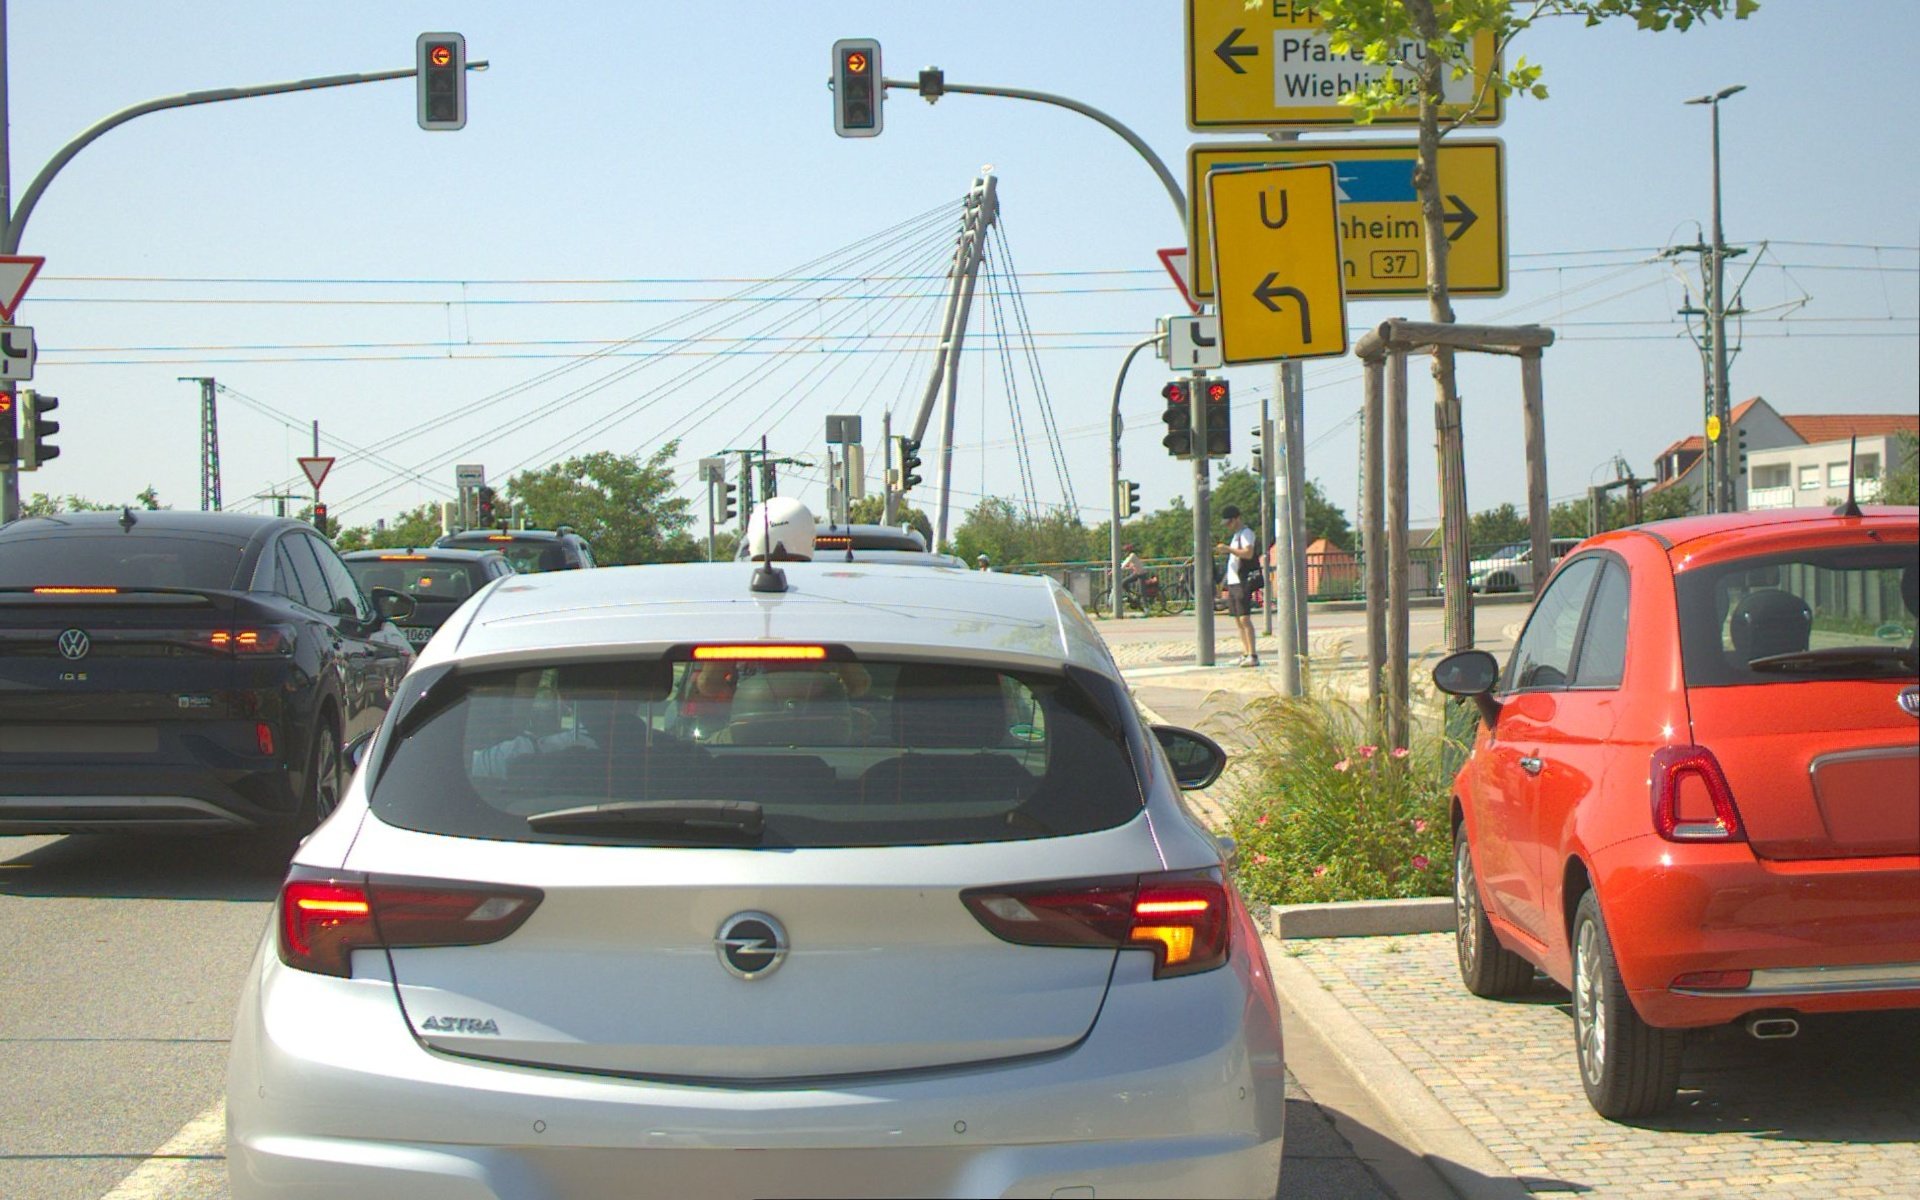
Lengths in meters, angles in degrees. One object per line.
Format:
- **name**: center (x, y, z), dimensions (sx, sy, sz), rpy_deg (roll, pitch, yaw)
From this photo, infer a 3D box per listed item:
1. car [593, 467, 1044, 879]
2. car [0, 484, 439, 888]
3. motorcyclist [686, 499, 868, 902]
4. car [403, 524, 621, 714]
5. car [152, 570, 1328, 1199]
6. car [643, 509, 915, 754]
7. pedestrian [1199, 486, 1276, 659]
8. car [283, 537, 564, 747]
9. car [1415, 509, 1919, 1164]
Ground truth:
- **car**: center (-0.658, 0.268, 17.568), dimensions (1.993, 1.814, 4.402), rpy_deg (1, 2, -1)
- **car**: center (-3.675, 0.324, 16.217), dimensions (1.801, 1.636, 4.366), rpy_deg (1, 1, -1)
- **motorcyclist**: center (-0.642, 0.343, 12.229), dimensions (0.581, 1.384, 0.707), rpy_deg (1, 0, 1)
- **car**: center (-4.025, 0.143, 31.338), dimensions (1.649, 1.610, 3.821), rpy_deg (1, 1, -3)
- **car**: center (-0.433, 0.689, 7.141), dimensions (1.742, 1.473, 4.001), rpy_deg (1, 1, -3)
- **car**: center (-1.207, 0.153, 24.391), dimensions (1.724, 1.558, 4.000), rpy_deg (1, 2, 0)
- **pedestrian**: center (3.014, -0.300, 37.387), dimensions (0.647, 1.830, 0.798), rpy_deg (-3, 0, -2)
- **car**: center (-3.924, 0.274, 25.655), dimensions (1.575, 1.429, 3.786), rpy_deg (1, 1, -1)
- **car**: center (2.326, 0.513, 9.746), dimensions (1.610, 1.491, 3.352), rpy_deg (-2, 1, 1)
